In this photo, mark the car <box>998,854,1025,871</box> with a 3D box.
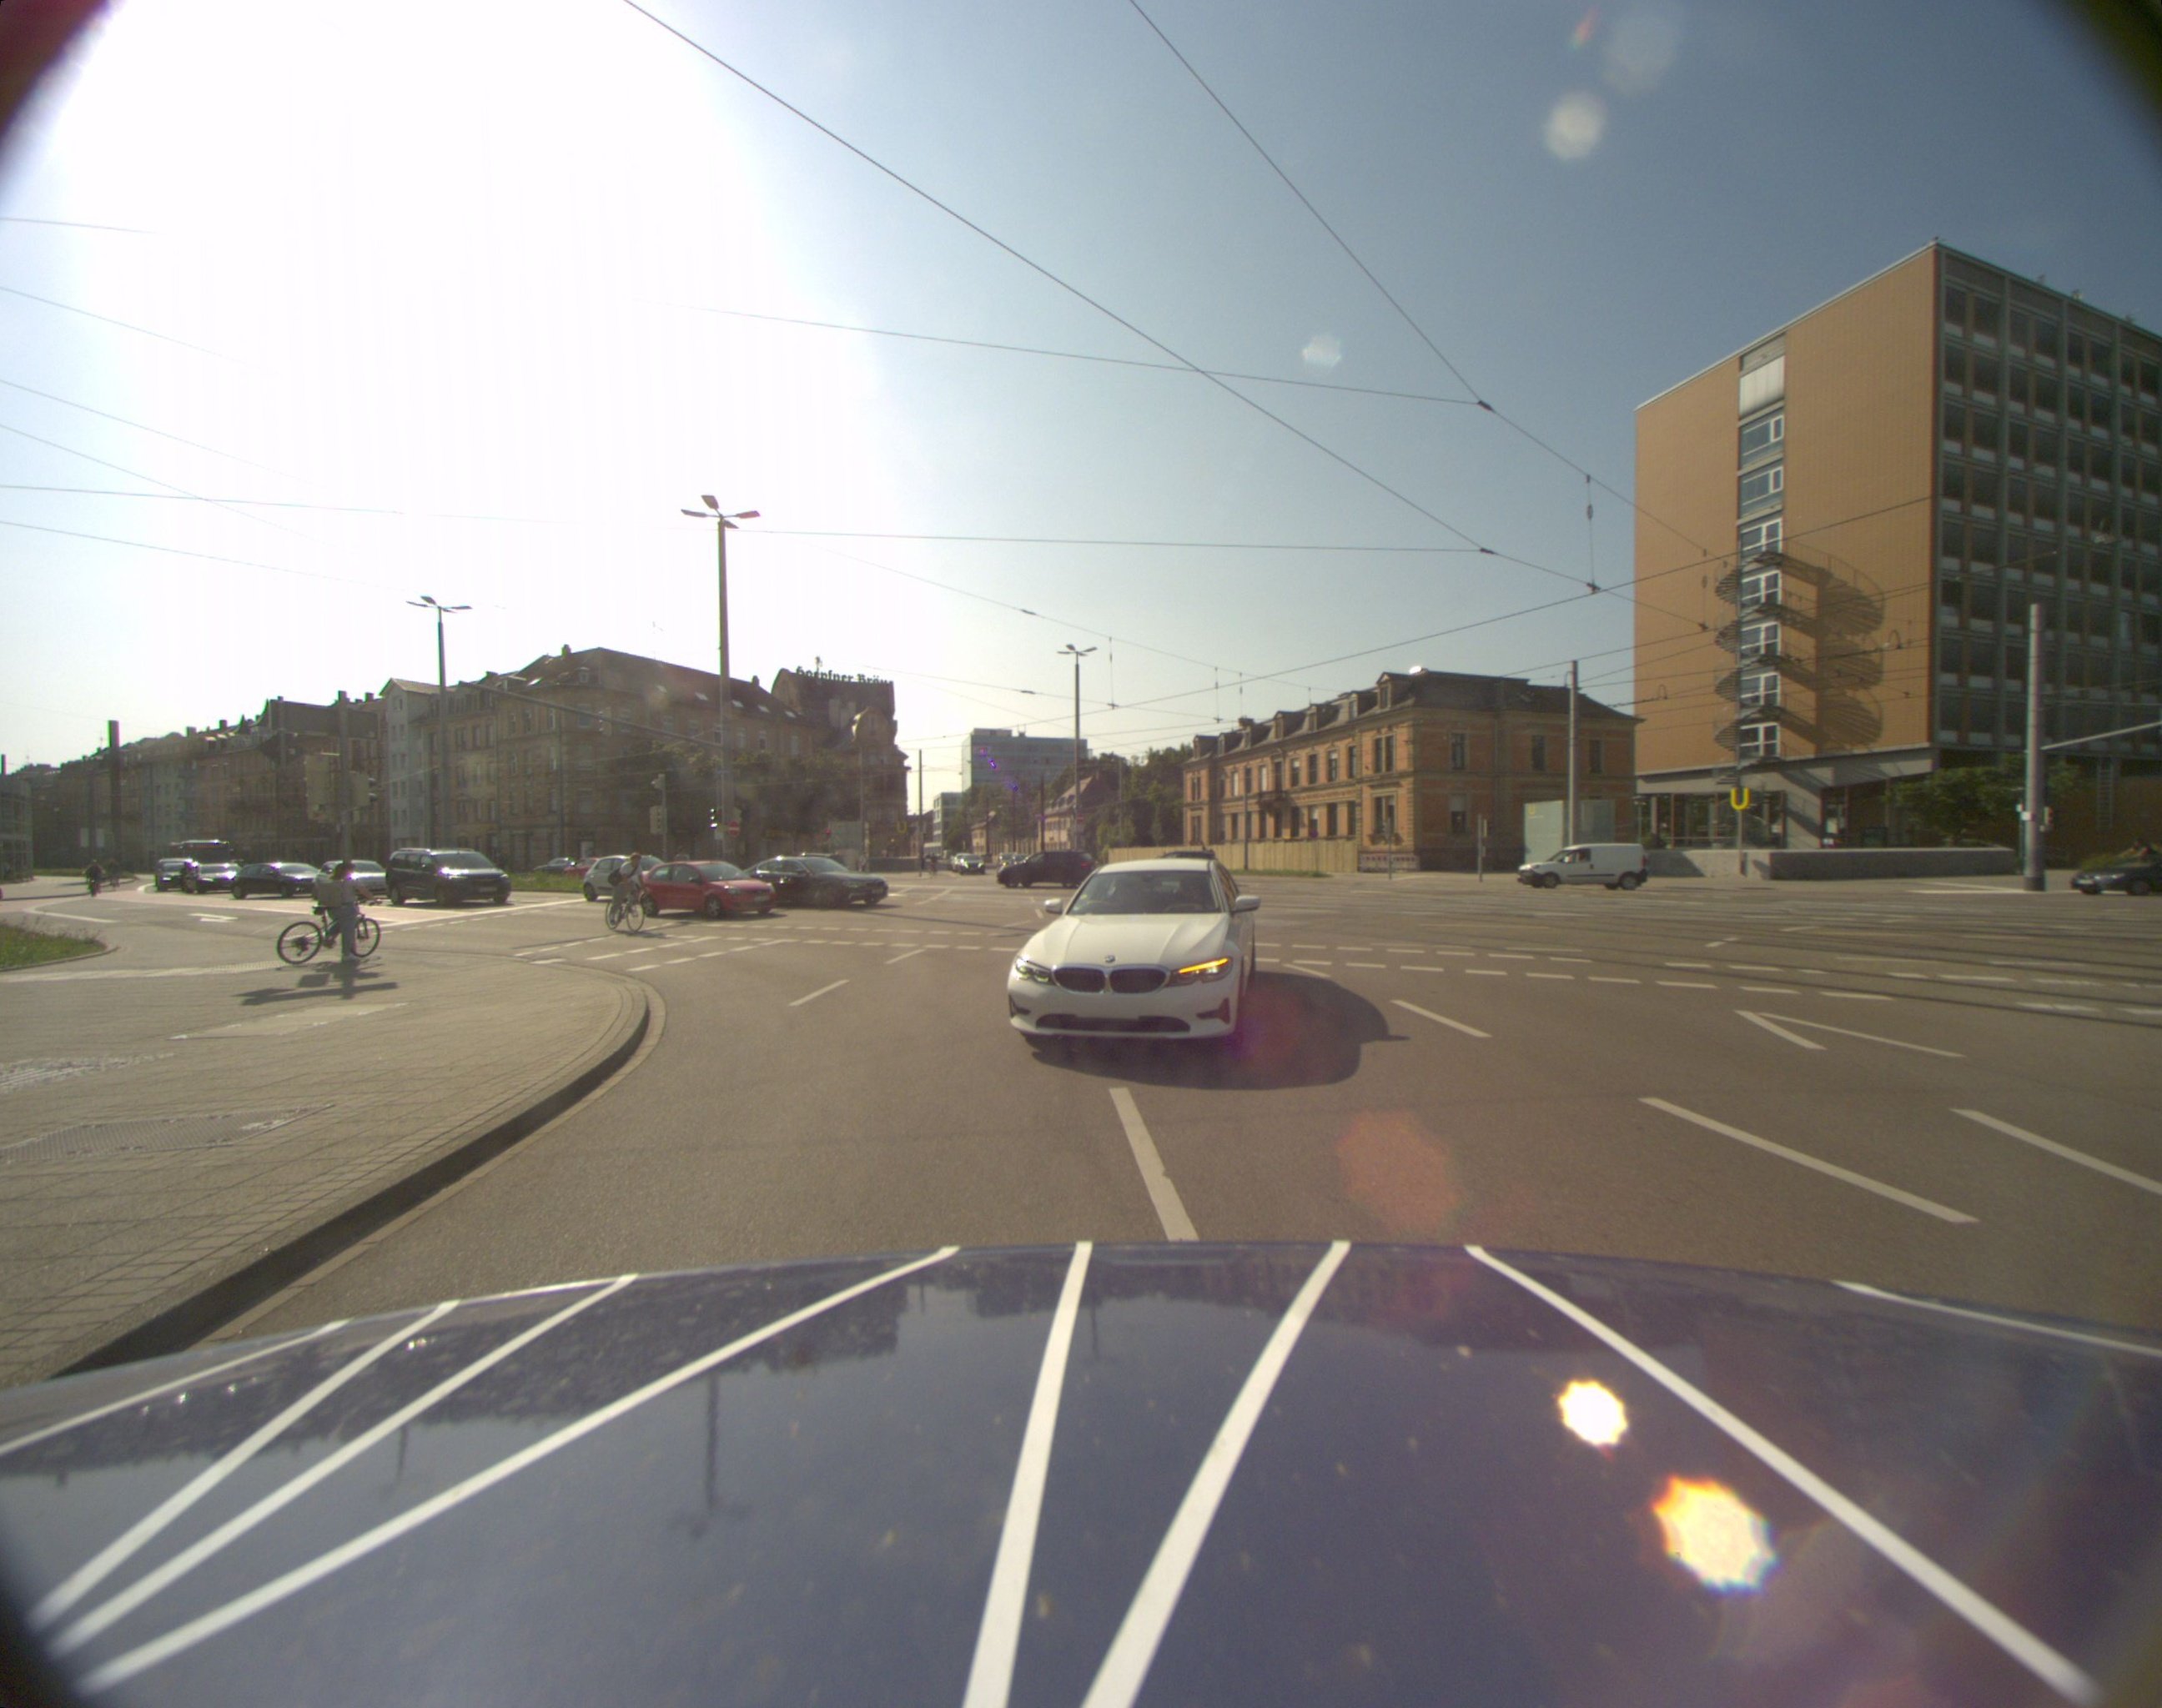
[{"bbox_3d":[-5.740,0.686,62.692,1.694,1.319,3.995,-1,1,-13],"label":"car"}]

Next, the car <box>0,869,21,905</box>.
[{"bbox_3d":[-43.751,1.319,28.598,1.994,1.362,4.407,0,1,38],"label":"car"}]

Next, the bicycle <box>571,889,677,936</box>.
[{"bbox_3d":[-10.110,1.286,16.815,2.194,0.984,0.529,0,2,11],"label":"bicycle"}]

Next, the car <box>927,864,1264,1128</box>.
[{"bbox_3d":[0.583,0.897,6.927,1.811,1.419,4.780,-3,0,16],"label":"car"}]

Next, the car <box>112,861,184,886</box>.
[{"bbox_3d":[-54.529,1.121,44.416,3.989,1.407,1.806,0,1,27],"label":"car"}]

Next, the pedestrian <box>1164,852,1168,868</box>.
[{"bbox_3d":[7.738,0.541,68.924,0.237,1.522,0.326,-1,1,-17],"label":"pedestrian"}]

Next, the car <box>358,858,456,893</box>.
[{"bbox_3d":[-29.127,0.904,32.825,3.989,1.407,1.806,0,1,27],"label":"car"}]

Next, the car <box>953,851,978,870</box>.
[{"bbox_3d":[-10.555,0.563,69.217,1.928,1.627,3.995,-1,1,-13],"label":"car"}]

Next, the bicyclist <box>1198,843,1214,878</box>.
[{"bbox_3d":[6.866,0.351,41.776,0.708,1.851,0.783,0,1,24],"label":"bicyclist"}]

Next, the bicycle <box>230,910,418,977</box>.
[{"bbox_3d":[-11.966,1.373,12.125,0.567,0.888,2.079,-1,-2,19],"label":"bicycle"}]

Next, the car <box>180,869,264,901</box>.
[{"bbox_3d":[-41.585,1.466,36.788,3.621,1.433,1.806,0,1,27],"label":"car"}]

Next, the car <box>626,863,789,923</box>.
[{"bbox_3d":[-9.924,0.962,20.178,3.989,1.407,1.806,0,1,27],"label":"car"}]

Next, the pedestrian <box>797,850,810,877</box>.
[{"bbox_3d":[-18.064,0.600,49.515,0.622,1.716,0.506,0,1,38],"label":"pedestrian"}]

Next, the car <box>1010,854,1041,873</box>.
[{"bbox_3d":[-4.194,0.683,56.909,1.694,1.319,3.995,-1,1,-13],"label":"car"}]

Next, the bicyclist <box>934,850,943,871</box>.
[{"bbox_3d":[-11.271,0.519,60.043,0.663,1.627,0.917,-1,1,-11],"label":"bicyclist"}]

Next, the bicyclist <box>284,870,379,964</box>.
[{"bbox_3d":[-11.983,0.981,12.165,0.729,1.418,0.821,-1,0,18],"label":"bicyclist"}]

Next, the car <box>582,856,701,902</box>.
[{"bbox_3d":[-14.857,0.812,25.710,3.547,1.427,1.806,0,1,27],"label":"car"}]

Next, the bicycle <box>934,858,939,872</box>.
[{"bbox_3d":[-11.403,0.852,60.075,0.401,1.084,1.926,-1,1,-10],"label":"bicycle"}]

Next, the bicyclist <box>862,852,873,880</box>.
[{"bbox_3d":[-13.289,0.734,47.340,0.587,1.720,0.594,-1,1,-18],"label":"bicyclist"}]

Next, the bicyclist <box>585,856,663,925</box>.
[{"bbox_3d":[-10.070,0.783,16.788,0.970,1.467,1.088,0,1,10],"label":"bicyclist"}]

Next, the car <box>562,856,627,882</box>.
[{"bbox_3d":[-28.347,0.876,44.268,3.770,1.439,1.680,0,0,32],"label":"car"}]

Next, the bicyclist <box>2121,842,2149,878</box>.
[{"bbox_3d":[43.276,0.259,31.199,0.548,1.471,0.397,0,1,13],"label":"bicyclist"}]

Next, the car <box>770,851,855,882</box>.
[{"bbox_3d":[-14.733,0.673,41.681,4.279,1.614,1.818,0,0,22],"label":"car"}]

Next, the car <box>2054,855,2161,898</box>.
[{"bbox_3d":[37.026,0.772,26.136,4.282,1.456,1.676,0,-1,13],"label":"car"}]

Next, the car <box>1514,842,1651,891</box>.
[{"bbox_3d":[20.109,0.510,30.667,4.281,1.875,1.797,0,-1,16],"label":"car"}]

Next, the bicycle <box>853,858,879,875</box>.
[{"bbox_3d":[-13.393,0.802,47.308,1.527,1.019,0.433,-1,1,-18],"label":"bicycle"}]

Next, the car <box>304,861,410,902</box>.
[{"bbox_3d":[-27.821,1.013,29.198,3.621,1.433,1.806,0,1,27],"label":"car"}]

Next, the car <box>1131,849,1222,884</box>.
[{"bbox_3d":[4.423,0.566,35.161,3.968,1.572,1.746,0,0,15],"label":"car"}]

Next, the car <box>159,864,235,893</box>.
[{"bbox_3d":[-47.873,1.303,41.137,3.621,1.433,1.806,0,1,27],"label":"car"}]

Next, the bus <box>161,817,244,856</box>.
[{"bbox_3d":[-72.980,-1.366,63.020,11.464,2.967,2.904,0,1,33],"label":"bus"}]

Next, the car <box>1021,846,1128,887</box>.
[{"bbox_3d":[-0.256,0.569,32.919,4.281,1.696,1.771,0,-1,17],"label":"car"}]

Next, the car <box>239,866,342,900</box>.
[{"bbox_3d":[-32.749,1.161,31.479,3.622,1.275,1.806,0,1,24],"label":"car"}]

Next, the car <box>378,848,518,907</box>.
[{"bbox_3d":[-21.174,0.738,25.395,4.761,1.817,1.806,0,1,27],"label":"car"}]

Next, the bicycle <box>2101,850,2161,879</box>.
[{"bbox_3d":[43.215,0.442,31.195,1.769,1.187,0.402,0,1,12],"label":"bicycle"}]

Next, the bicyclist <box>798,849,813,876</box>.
[{"bbox_3d":[-17.317,0.535,47.769,0.646,1.707,0.588,-1,1,20],"label":"bicyclist"}]

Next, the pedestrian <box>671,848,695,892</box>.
[{"bbox_3d":[-15.425,0.614,29.451,0.596,1.720,0.526,-1,1,22],"label":"pedestrian"}]

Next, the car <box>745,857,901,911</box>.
[{"bbox_3d":[-7.642,0.817,22.430,4.339,1.443,1.806,0,1,27],"label":"car"}]

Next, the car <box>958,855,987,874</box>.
[{"bbox_3d":[-8.469,0.764,58.943,1.928,1.368,3.995,-1,1,-13],"label":"car"}]
